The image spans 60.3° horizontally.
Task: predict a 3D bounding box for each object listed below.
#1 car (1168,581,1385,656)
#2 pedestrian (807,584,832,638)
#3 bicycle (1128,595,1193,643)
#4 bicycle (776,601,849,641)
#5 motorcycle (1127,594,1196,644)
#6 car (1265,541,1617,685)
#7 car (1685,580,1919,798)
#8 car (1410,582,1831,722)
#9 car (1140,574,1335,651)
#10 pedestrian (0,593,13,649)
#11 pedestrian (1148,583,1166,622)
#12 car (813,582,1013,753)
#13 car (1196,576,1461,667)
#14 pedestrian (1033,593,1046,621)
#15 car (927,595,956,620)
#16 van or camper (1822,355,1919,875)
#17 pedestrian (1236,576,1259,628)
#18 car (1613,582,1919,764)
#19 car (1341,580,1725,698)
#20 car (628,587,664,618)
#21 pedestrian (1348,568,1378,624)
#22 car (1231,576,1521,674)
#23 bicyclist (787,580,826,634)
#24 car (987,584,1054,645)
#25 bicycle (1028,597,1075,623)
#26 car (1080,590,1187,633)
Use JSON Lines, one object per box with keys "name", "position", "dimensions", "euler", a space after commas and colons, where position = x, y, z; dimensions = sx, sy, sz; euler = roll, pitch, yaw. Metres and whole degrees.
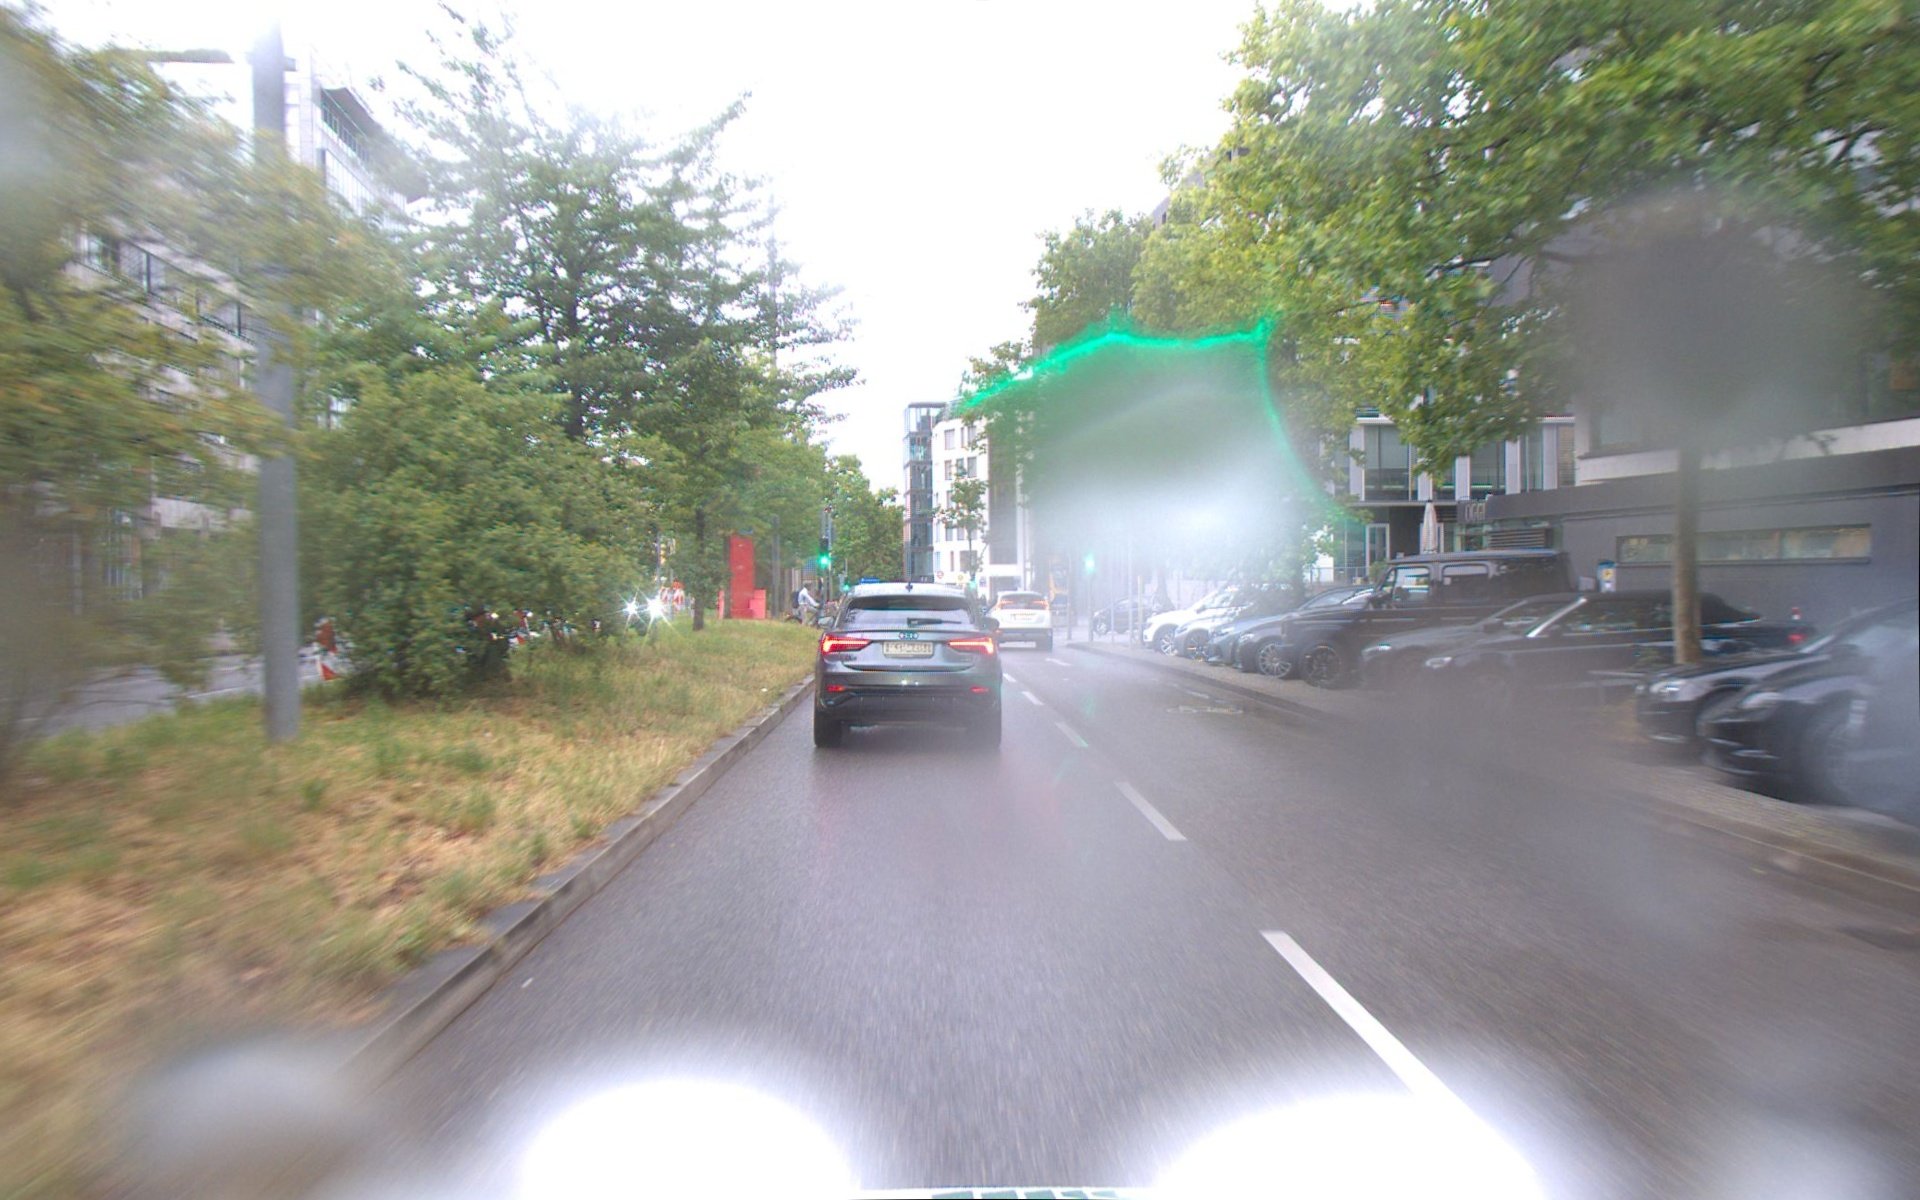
{"name": "car", "position": [6.788, 0.398, 35.531], "dimensions": [4.212, 1.515, 1.840], "euler": [-1, 0, 29]}
{"name": "pedestrian", "position": [-4.801, 0.382, 56.656], "dimensions": [0.647, 1.825, 0.751], "euler": [0, -1, 12]}
{"name": "bicycle", "position": [6.131, 0.571, 50.511], "dimensions": [1.940, 1.440, 0.726], "euler": [0, -1, 8]}
{"name": "bicycle", "position": [-4.633, 0.663, 52.049], "dimensions": [2.209, 1.182, 0.750], "euler": [2, -1, -1]}
{"name": "motorcycle", "position": [5.923, 0.554, 48.488], "dimensions": [1.985, 1.440, 0.726], "euler": [0, -1, 8]}
{"name": "car", "position": [7.253, 0.213, 25.018], "dimensions": [4.839, 2.013, 1.928], "euler": [-1, 0, 26]}
{"name": "car", "position": [7.479, 0.589, 11.628], "dimensions": [4.301, 1.461, 1.939], "euler": [0, 0, 26]}
{"name": "car", "position": [7.490, 0.548, 18.910], "dimensions": [4.279, 1.461, 1.760], "euler": [0, 0, 26]}
{"name": "car", "position": [6.503, 0.297, 38.779], "dimensions": [4.135, 1.698, 1.837], "euler": [-1, 0, 27]}
{"name": "pedestrian", "position": [-29.377, 0.641, 50.129], "dimensions": [0.974, 1.674, 0.676], "euler": [-1, 0, -6]}
{"name": "pedestrian", "position": [11.040, 0.163, 92.509], "dimensions": [0.916, 2.152, 1.076], "euler": [0, -1, 11]}
{"name": "car", "position": [-0.450, 0.594, 16.979], "dimensions": [1.812, 1.550, 4.038], "euler": [0, 0, -1]}
{"name": "car", "position": [6.869, 0.395, 30.927], "dimensions": [4.673, 1.560, 1.871], "euler": [-1, 0, 14]}
{"name": "pedestrian", "position": [5.908, 0.512, 122.615], "dimensions": [0.838, 2.049, 0.975], "euler": [1, -1, -6]}
{"name": "car", "position": [-1.149, 0.451, 103.858], "dimensions": [1.811, 1.550, 4.038], "euler": [0, 0, 0]}
{"name": "van or camper", "position": [7.585, 0.060, 8.045], "dimensions": [5.947, 2.603, 2.102], "euler": [0, 0, 27]}
{"name": "pedestrian", "position": [12.006, 0.077, 69.002], "dimensions": [0.916, 2.152, 1.076], "euler": [0, -1, 11]}
{"name": "car", "position": [7.855, 0.584, 14.146], "dimensions": [4.117, 1.461, 1.719], "euler": [0, 0, 26]}
{"name": "car", "position": [7.523, 0.510, 21.805], "dimensions": [4.534, 1.419, 1.845], "euler": [-1, -1, 28]}
{"name": "car", "position": [-20.254, 0.148, 106.650], "dimensions": [1.956, 1.858, 3.994], "euler": [-2, 1, -7]}
{"name": "pedestrian", "position": [13.455, -0.129, 55.188], "dimensions": [0.628, 1.814, 0.769], "euler": [-3, -1, -8]}
{"name": "car", "position": [6.994, 0.416, 27.851], "dimensions": [4.462, 1.533, 1.868], "euler": [-1, 0, 24]}
{"name": "bicyclist", "position": [-4.818, 0.225, 52.054], "dimensions": [1.082, 1.650, 0.750], "euler": [3, -1, -1]}
{"name": "car", "position": [1.714, 0.393, 47.949], "dimensions": [1.811, 1.698, 4.038], "euler": [0, 0, 0]}
{"name": "bicycle", "position": [4.676, 0.493, 84.533], "dimensions": [2.293, 1.335, 0.708], "euler": [0, 0, -8]}
{"name": "car", "position": [6.593, 0.423, 63.037], "dimensions": [3.794, 1.595, 1.658], "euler": [0, -1, 42]}
